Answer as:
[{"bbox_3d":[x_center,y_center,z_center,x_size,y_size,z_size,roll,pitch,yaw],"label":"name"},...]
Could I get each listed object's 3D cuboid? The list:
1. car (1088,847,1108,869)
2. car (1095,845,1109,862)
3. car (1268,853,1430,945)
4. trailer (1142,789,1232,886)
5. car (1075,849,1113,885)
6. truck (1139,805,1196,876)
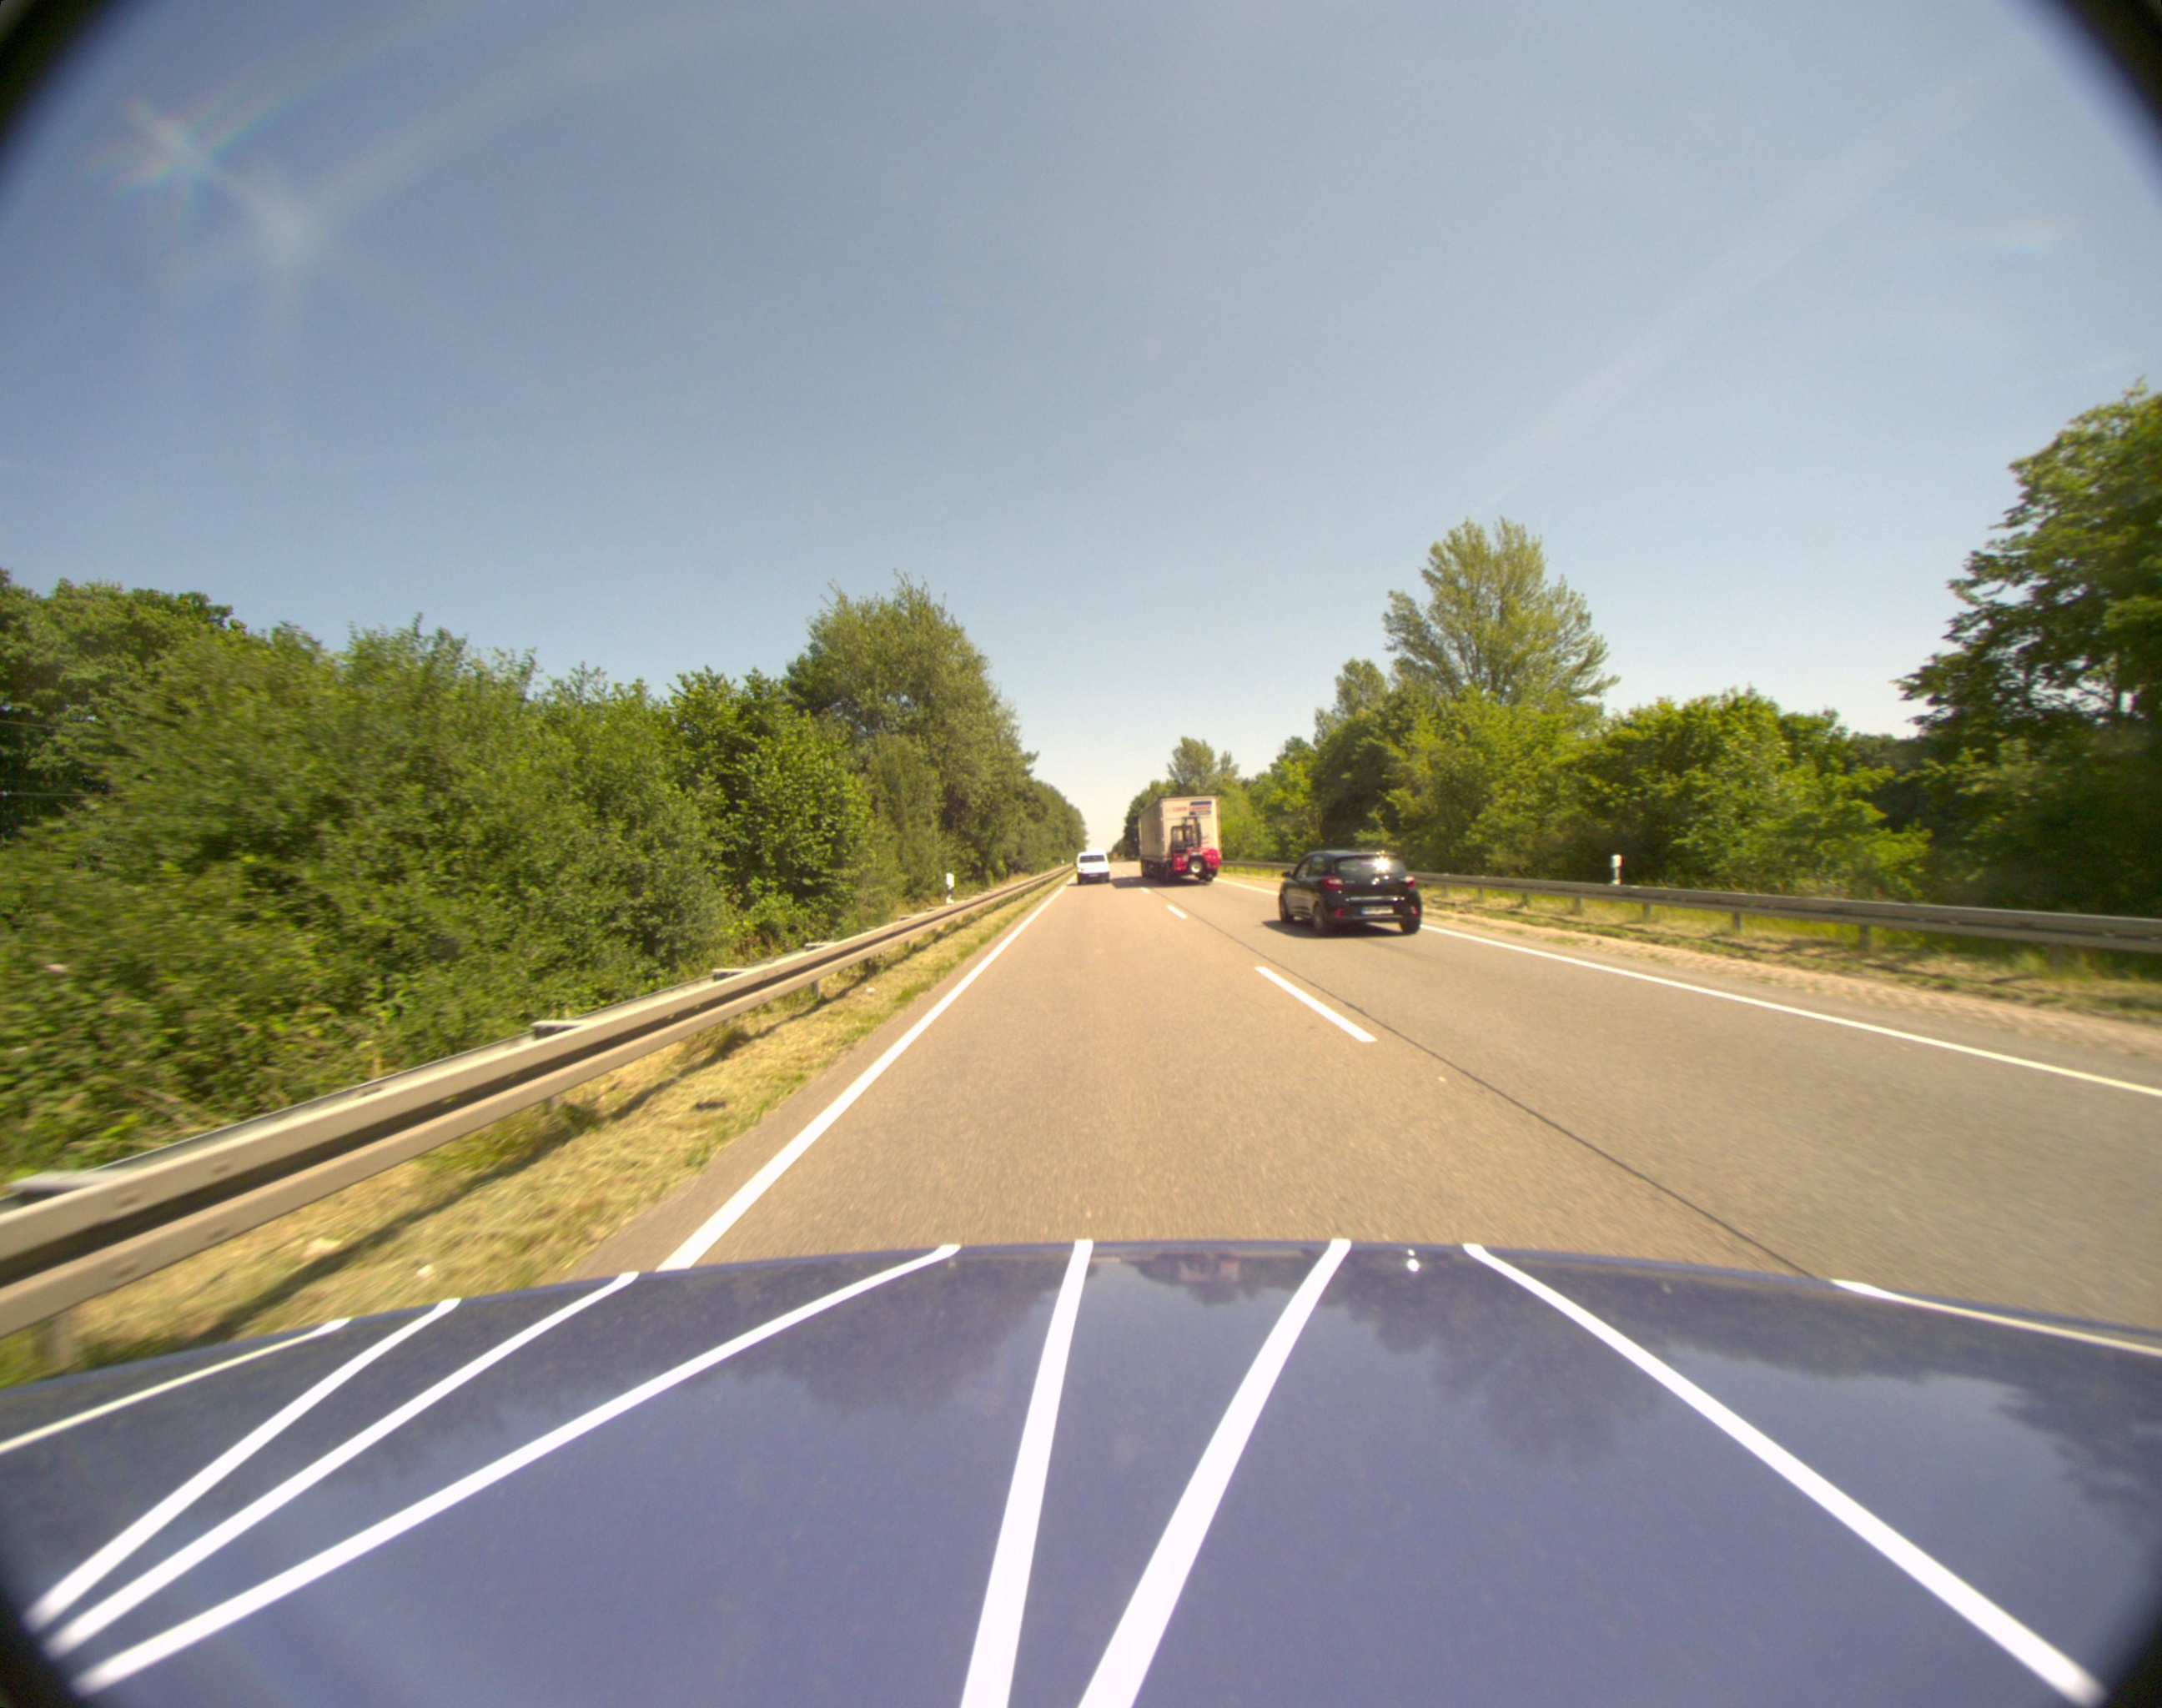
[{"bbox_3d":[1.667,0.425,73.434,1.782,1.960,4.106,-4,-1,2],"label":"car"},{"bbox_3d":[3.052,0.002,108.214,1.782,2.286,4.106,-4,-1,2],"label":"car"},{"bbox_3d":[4.843,0.726,14.367,1.638,1.429,4.179,-1,1,1],"label":"car"},{"bbox_3d":[5.019,-0.750,38.935,2.770,3.976,13.686,-3,0,1],"label":"trailer"},{"bbox_3d":[0.717,0.669,40.397,1.782,1.743,4.513,-3,-1,2],"label":"car"},{"bbox_3d":[5.188,-0.809,46.596,2.770,3.976,5.907,-3,0,1],"label":"truck"}]
